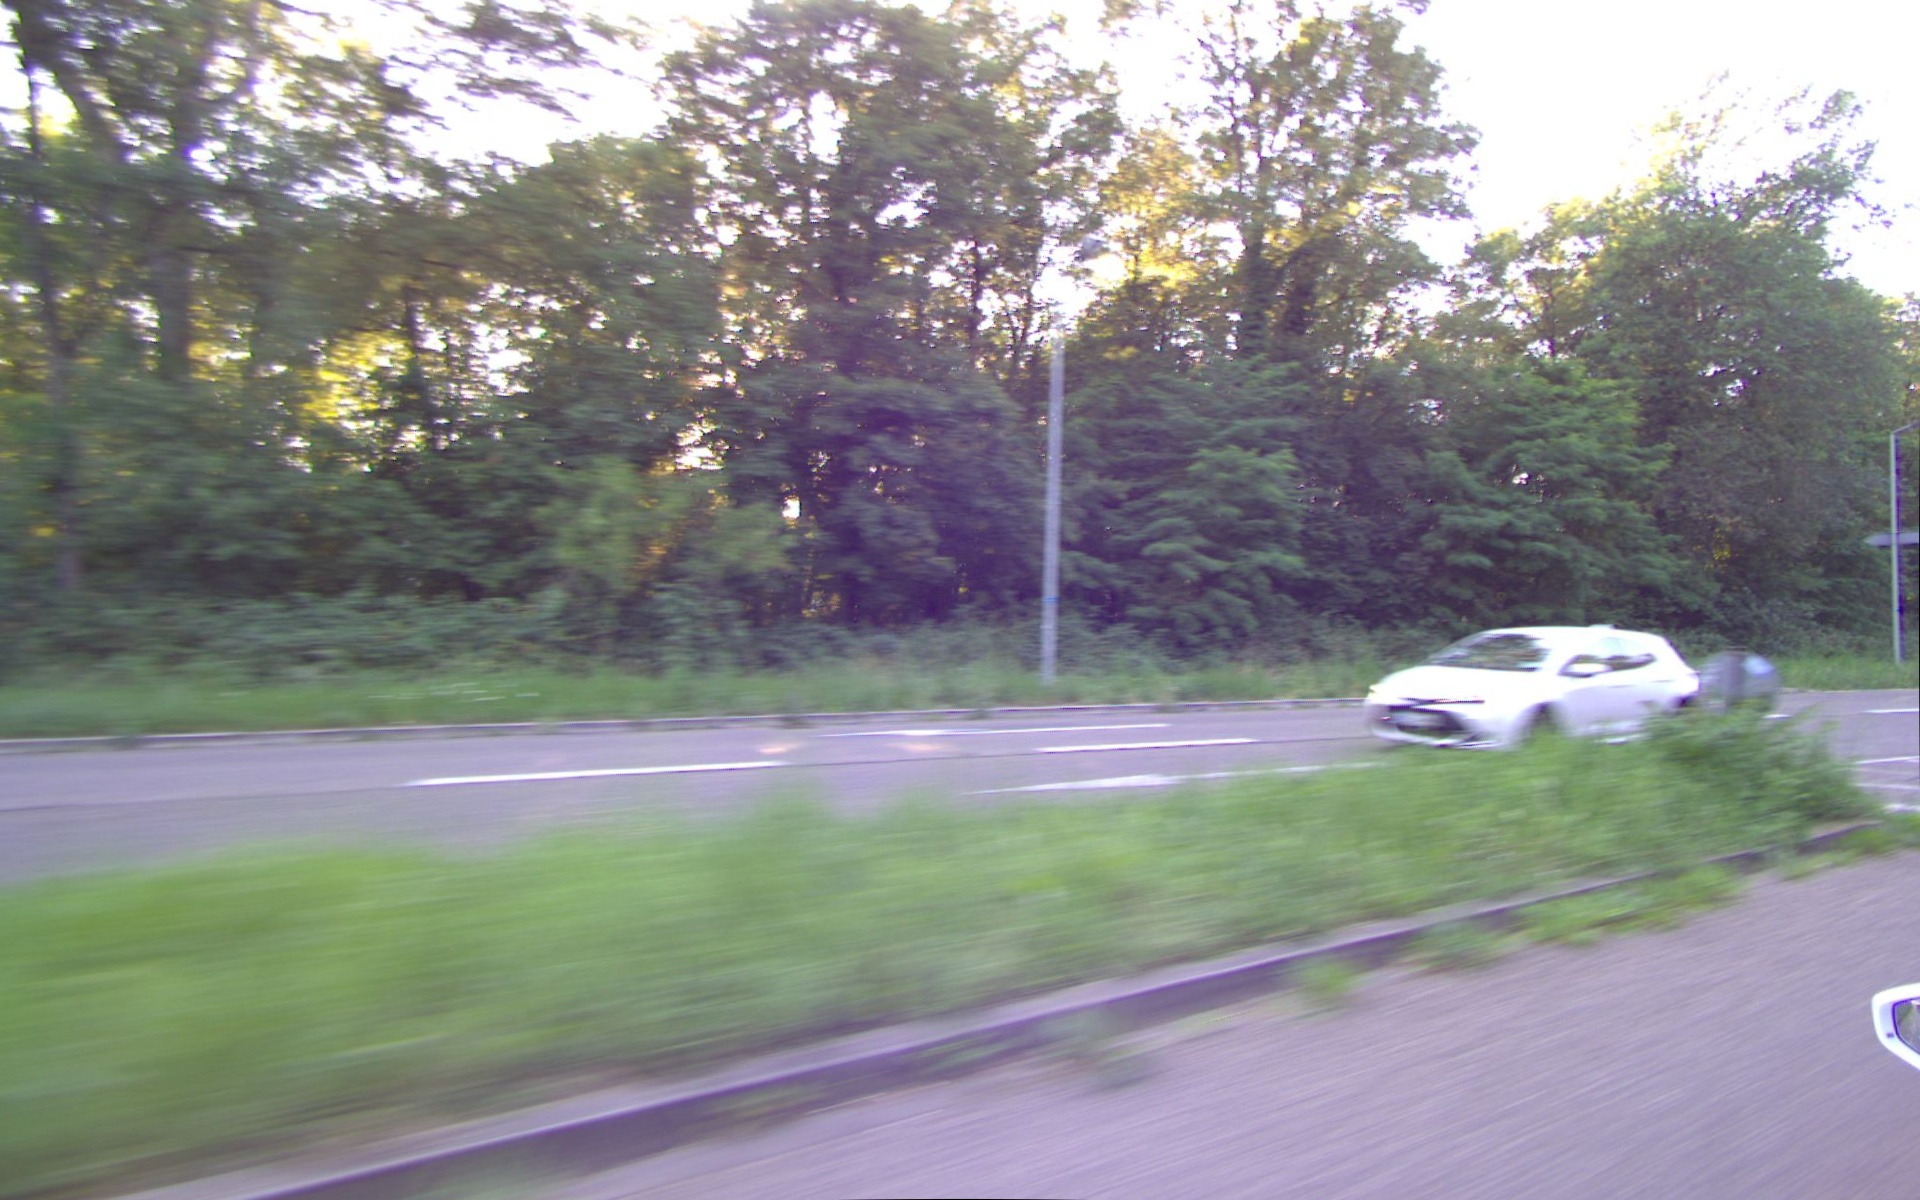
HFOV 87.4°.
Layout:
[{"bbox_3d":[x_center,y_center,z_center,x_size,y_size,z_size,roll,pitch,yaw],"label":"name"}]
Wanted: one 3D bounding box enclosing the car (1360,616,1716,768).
[{"bbox_3d":[6.822,1.048,11.822,3.888,1.527,1.829,3,-2,-27],"label":"car"}]
